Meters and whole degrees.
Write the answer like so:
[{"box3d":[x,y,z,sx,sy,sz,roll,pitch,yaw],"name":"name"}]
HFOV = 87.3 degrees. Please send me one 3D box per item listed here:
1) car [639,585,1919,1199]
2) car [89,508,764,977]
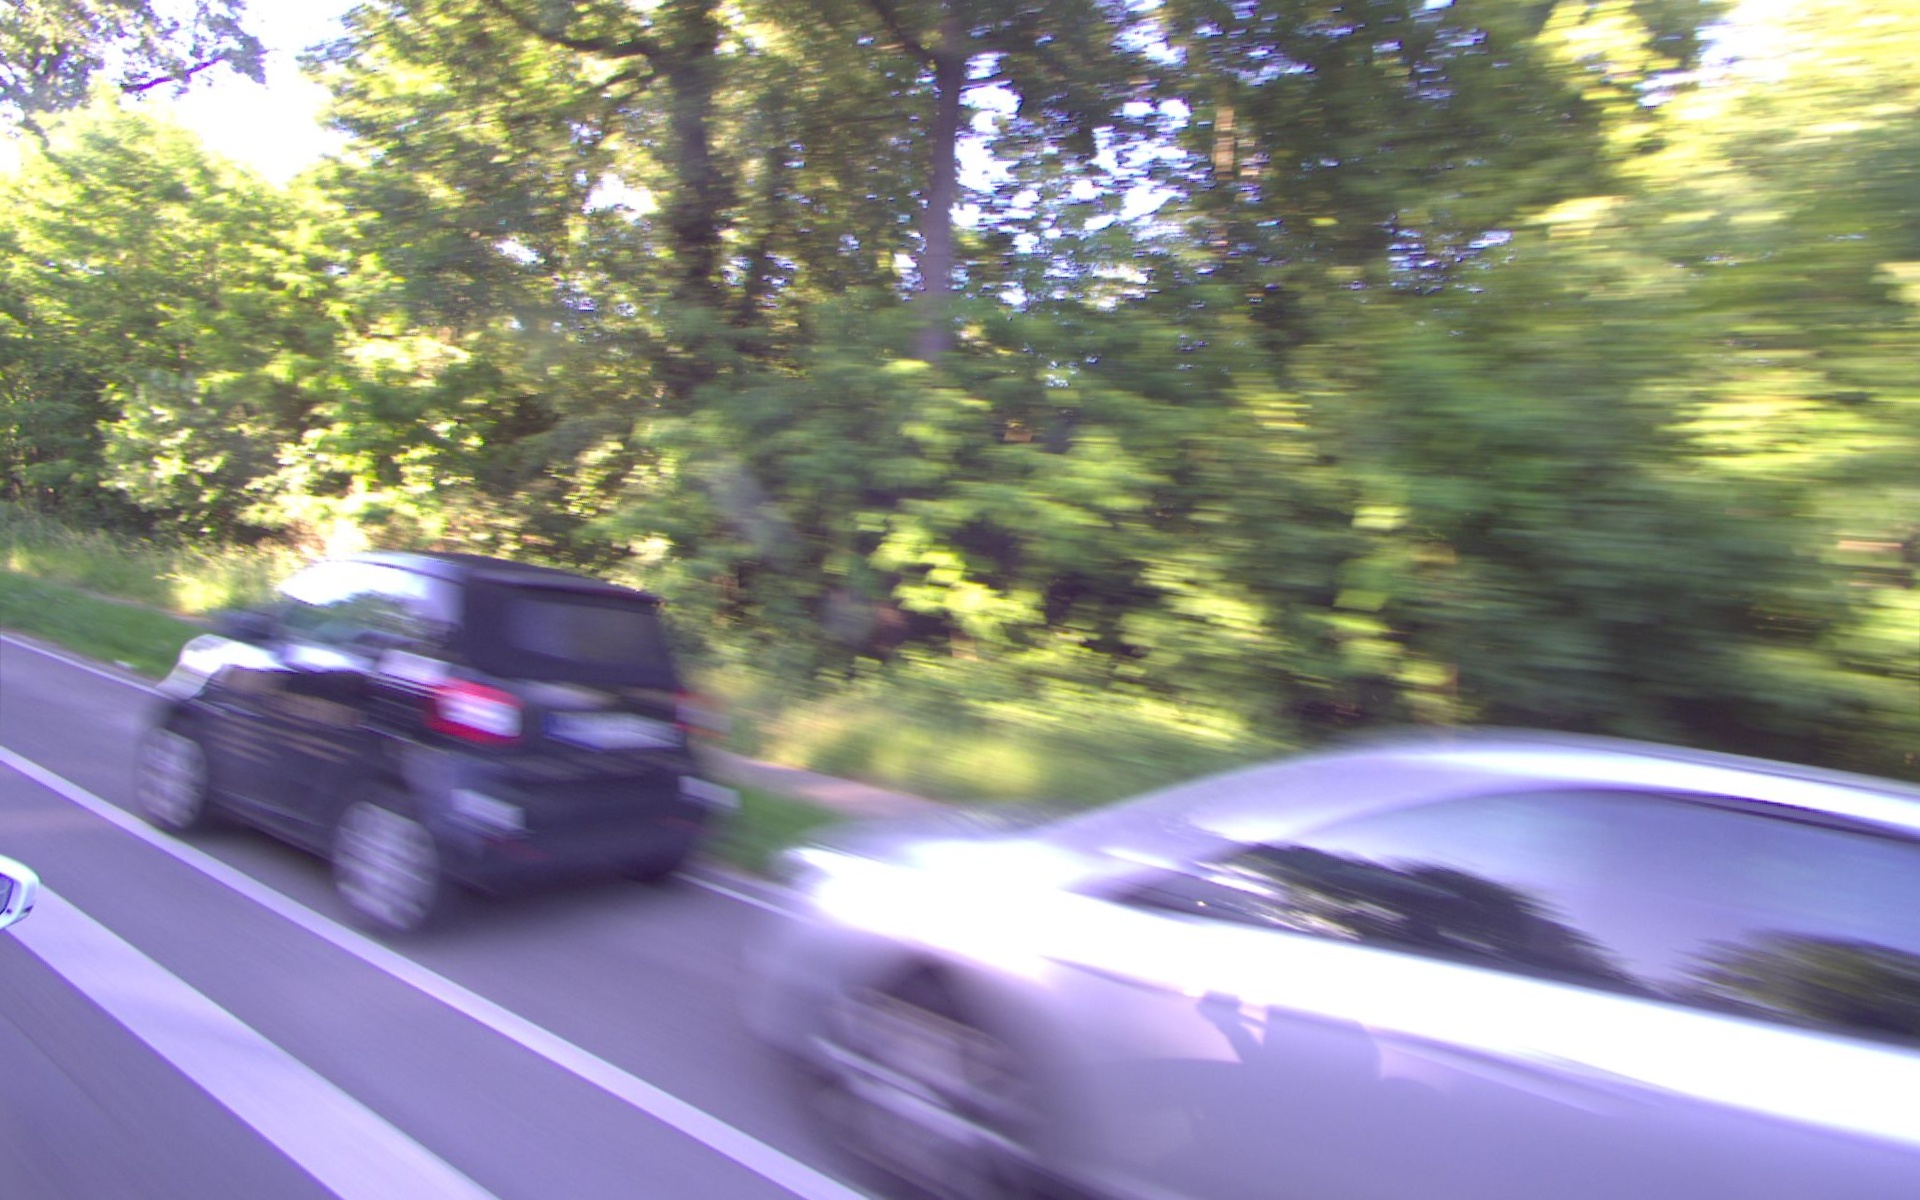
[{"box3d":[1.435,1.022,2.612,4.327,1.504,1.739,7,-3,31],"name":"car"},{"box3d":[-2.731,0.529,5.094,2.961,1.547,1.590,7,-2,32],"name":"car"}]
